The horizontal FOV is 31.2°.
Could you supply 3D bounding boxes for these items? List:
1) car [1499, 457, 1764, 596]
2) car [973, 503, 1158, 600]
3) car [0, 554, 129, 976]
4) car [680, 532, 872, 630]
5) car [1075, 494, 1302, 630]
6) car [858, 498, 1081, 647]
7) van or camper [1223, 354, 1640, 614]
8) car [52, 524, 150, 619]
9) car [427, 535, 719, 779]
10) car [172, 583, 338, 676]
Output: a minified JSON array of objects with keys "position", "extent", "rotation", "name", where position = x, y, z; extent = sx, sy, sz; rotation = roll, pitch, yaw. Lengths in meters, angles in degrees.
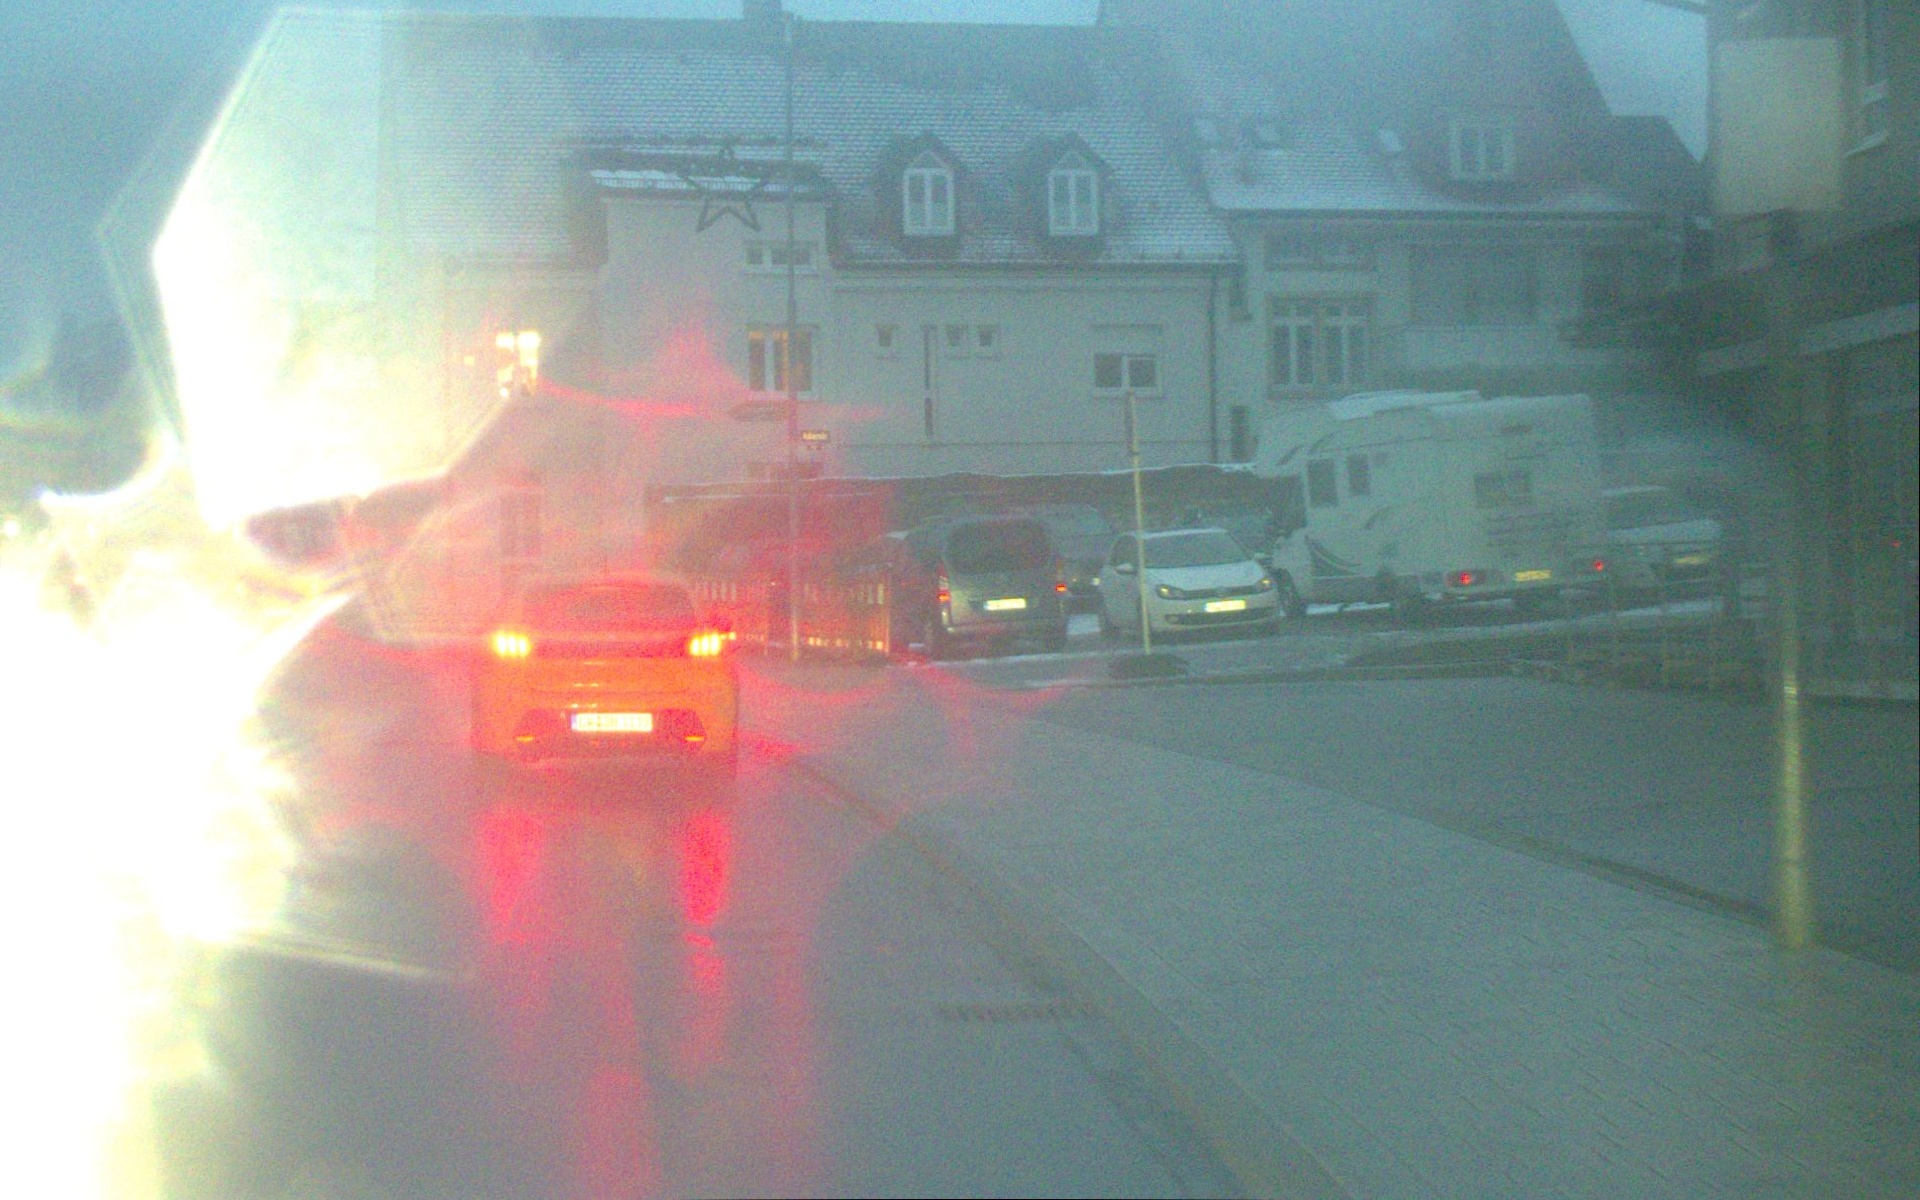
[{"position":[8.755,-0.953,45.155],"extent":[1.788,1.548,4.001],"rotation":[-7,2,-13],"name":"car"},{"position":[1.699,-0.827,57.053],"extent":[1.822,1.457,4.550],"rotation":[-3,2,-14],"name":"car"},{"position":[-4.656,0.642,13.842],"extent":[1.917,1.559,4.227],"rotation":[-3,1,-6],"name":"car"},{"position":[-2.930,-0.331,54.114],"extent":[1.886,1.457,3.634],"rotation":[-1,1,-22],"name":"car"},{"position":[2.937,-0.463,45.122],"extent":[1.993,1.605,4.175],"rotation":[-3,0,-9],"name":"car"},{"position":[0.058,-0.389,45.016],"extent":[1.993,1.759,4.352],"rotation":[-3,2,-12],"name":"car"},{"position":[6.083,-1.478,45.608],"extent":[2.650,3.037,6.736],"rotation":[-5,2,-18],"name":"van or camper"},{"position":[-20.350,-0.681,81.352],"extent":[1.993,2.195,4.001],"rotation":[0,1,-18],"name":"car"},{"position":[-2.570,0.331,23.564],"extent":[1.814,1.528,4.001],"rotation":[0,1,-4],"name":"car"},{"position":[-12.754,0.501,62.038],"extent":[1.993,1.583,4.001],"rotation":[0,1,-26],"name":"car"}]
